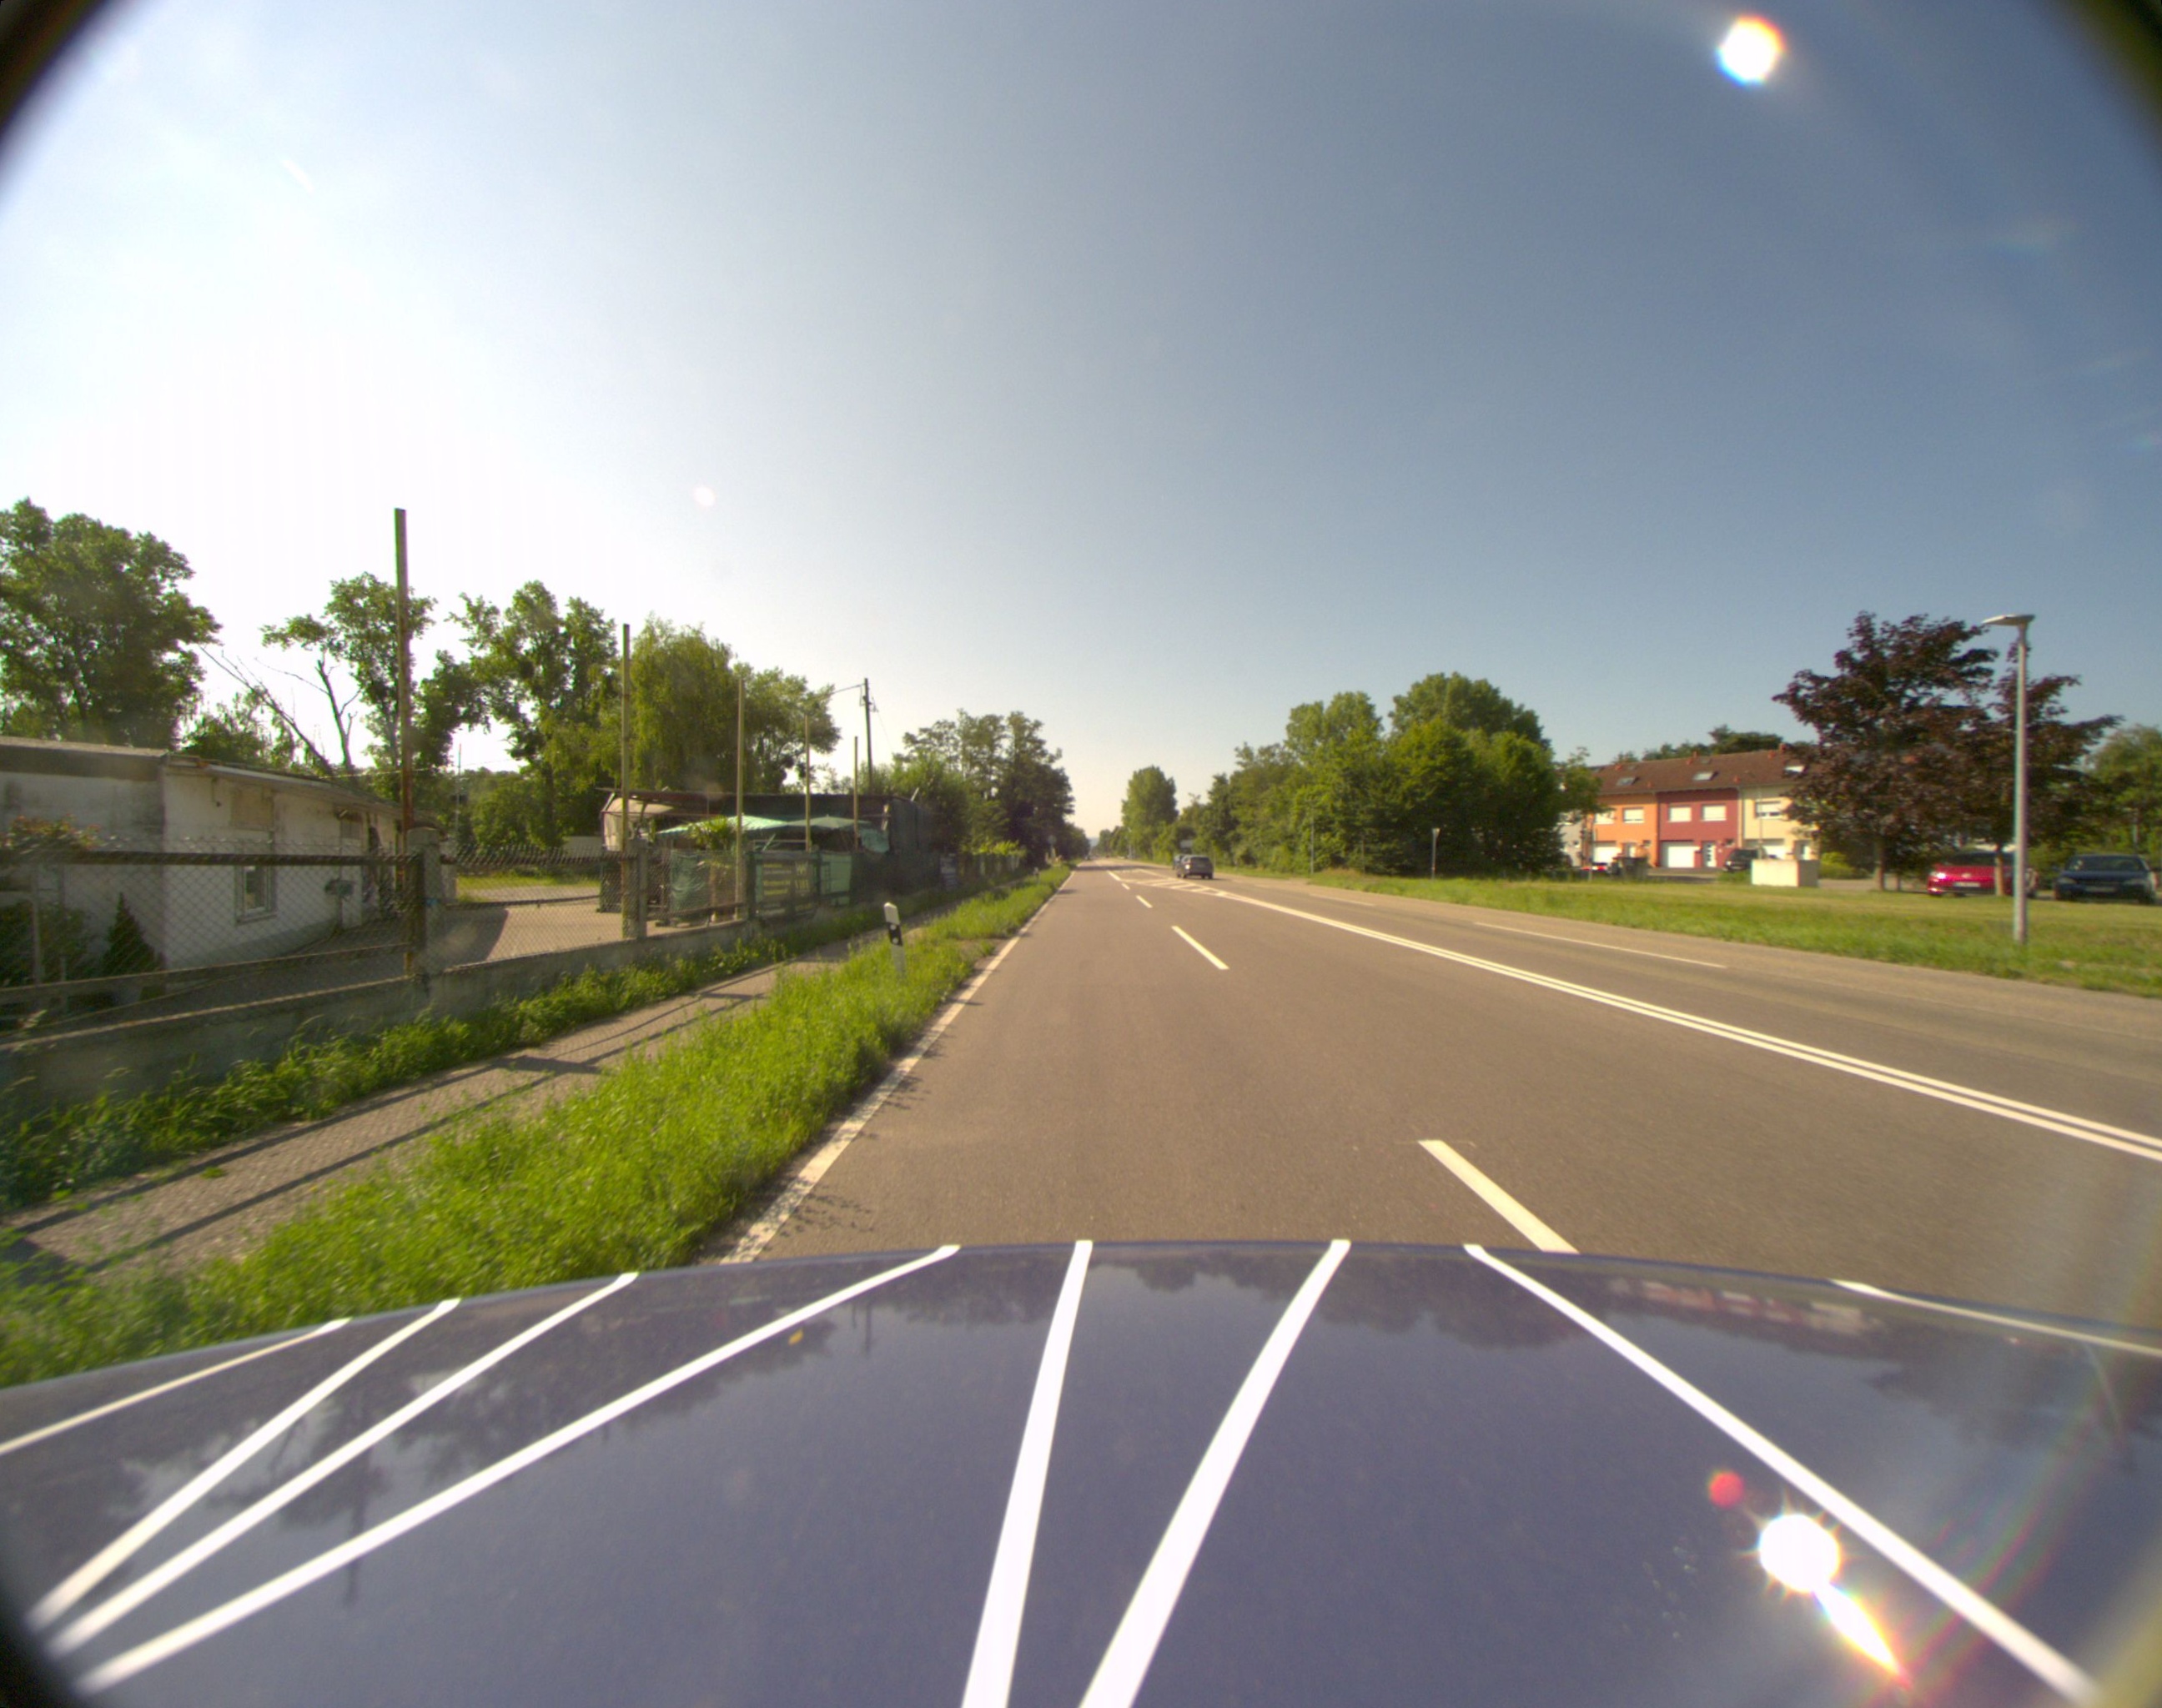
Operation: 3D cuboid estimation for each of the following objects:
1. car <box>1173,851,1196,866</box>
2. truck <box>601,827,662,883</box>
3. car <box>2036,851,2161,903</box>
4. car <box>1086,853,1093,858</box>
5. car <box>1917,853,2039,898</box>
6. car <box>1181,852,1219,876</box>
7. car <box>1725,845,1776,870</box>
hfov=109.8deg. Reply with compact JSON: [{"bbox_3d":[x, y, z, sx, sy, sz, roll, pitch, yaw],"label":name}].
[{"bbox_3d":[10.077,0.483,73.954,1.768,1.403,4.001,0,-1,1],"label":"car"},{"bbox_3d":[-30.043,0.076,51.036,2.757,3.444,7.734,-3,1,-26],"label":"truck"},{"bbox_3d":[29.183,0.616,21.655,4.006,1.362,1.818,0,-1,-29],"label":"car"},{"bbox_3d":[2.376,0.395,210.793,1.768,1.403,4.001,0,-1,1],"label":"car"},{"bbox_3d":[28.980,0.659,24.523,4.006,1.362,1.818,0,-1,-29],"label":"car"},{"bbox_3d":[7.180,0.620,46.044,1.768,1.403,4.174,0,-1,1],"label":"car"},{"bbox_3d":[48.853,0.225,55.390,4.006,1.574,1.995,-3,2,-37],"label":"car"}]
